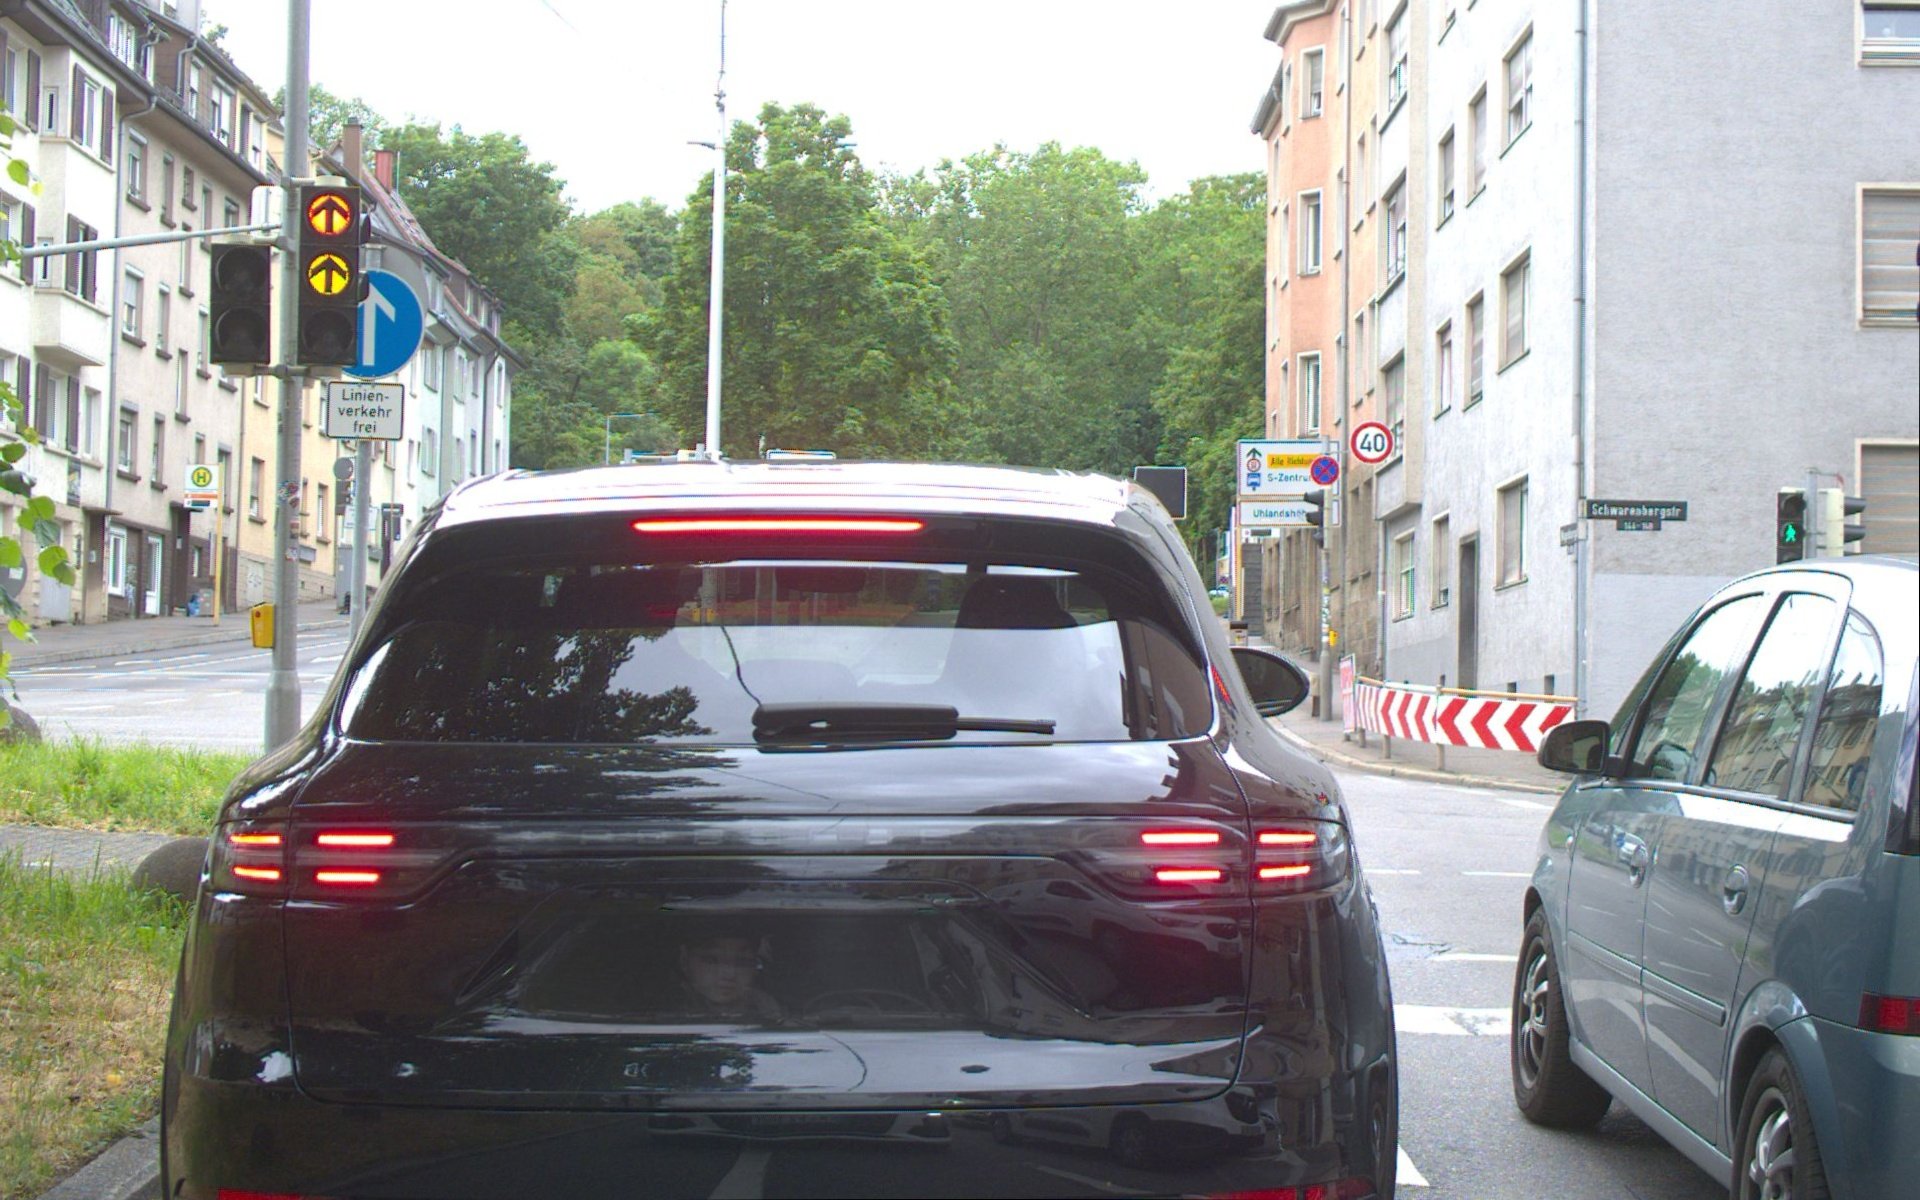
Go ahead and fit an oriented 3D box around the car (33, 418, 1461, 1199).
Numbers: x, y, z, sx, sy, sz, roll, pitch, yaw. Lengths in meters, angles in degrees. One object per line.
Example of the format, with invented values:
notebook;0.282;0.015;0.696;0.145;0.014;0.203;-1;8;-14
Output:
car;-0.315;0.566;6.718;1.955;1.669;4.000;0;1;-1

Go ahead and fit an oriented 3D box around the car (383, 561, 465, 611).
car;-15.389;-0.414;98.836;1.739;1.382;3.814;1;1;0

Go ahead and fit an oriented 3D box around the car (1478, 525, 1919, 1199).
car;2.349;0.698;7.885;1.628;1.592;3.669;4;1;-1

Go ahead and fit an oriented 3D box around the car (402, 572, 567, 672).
car;-6.952;0.293;50.589;1.862;1.383;4.094;1;1;0
